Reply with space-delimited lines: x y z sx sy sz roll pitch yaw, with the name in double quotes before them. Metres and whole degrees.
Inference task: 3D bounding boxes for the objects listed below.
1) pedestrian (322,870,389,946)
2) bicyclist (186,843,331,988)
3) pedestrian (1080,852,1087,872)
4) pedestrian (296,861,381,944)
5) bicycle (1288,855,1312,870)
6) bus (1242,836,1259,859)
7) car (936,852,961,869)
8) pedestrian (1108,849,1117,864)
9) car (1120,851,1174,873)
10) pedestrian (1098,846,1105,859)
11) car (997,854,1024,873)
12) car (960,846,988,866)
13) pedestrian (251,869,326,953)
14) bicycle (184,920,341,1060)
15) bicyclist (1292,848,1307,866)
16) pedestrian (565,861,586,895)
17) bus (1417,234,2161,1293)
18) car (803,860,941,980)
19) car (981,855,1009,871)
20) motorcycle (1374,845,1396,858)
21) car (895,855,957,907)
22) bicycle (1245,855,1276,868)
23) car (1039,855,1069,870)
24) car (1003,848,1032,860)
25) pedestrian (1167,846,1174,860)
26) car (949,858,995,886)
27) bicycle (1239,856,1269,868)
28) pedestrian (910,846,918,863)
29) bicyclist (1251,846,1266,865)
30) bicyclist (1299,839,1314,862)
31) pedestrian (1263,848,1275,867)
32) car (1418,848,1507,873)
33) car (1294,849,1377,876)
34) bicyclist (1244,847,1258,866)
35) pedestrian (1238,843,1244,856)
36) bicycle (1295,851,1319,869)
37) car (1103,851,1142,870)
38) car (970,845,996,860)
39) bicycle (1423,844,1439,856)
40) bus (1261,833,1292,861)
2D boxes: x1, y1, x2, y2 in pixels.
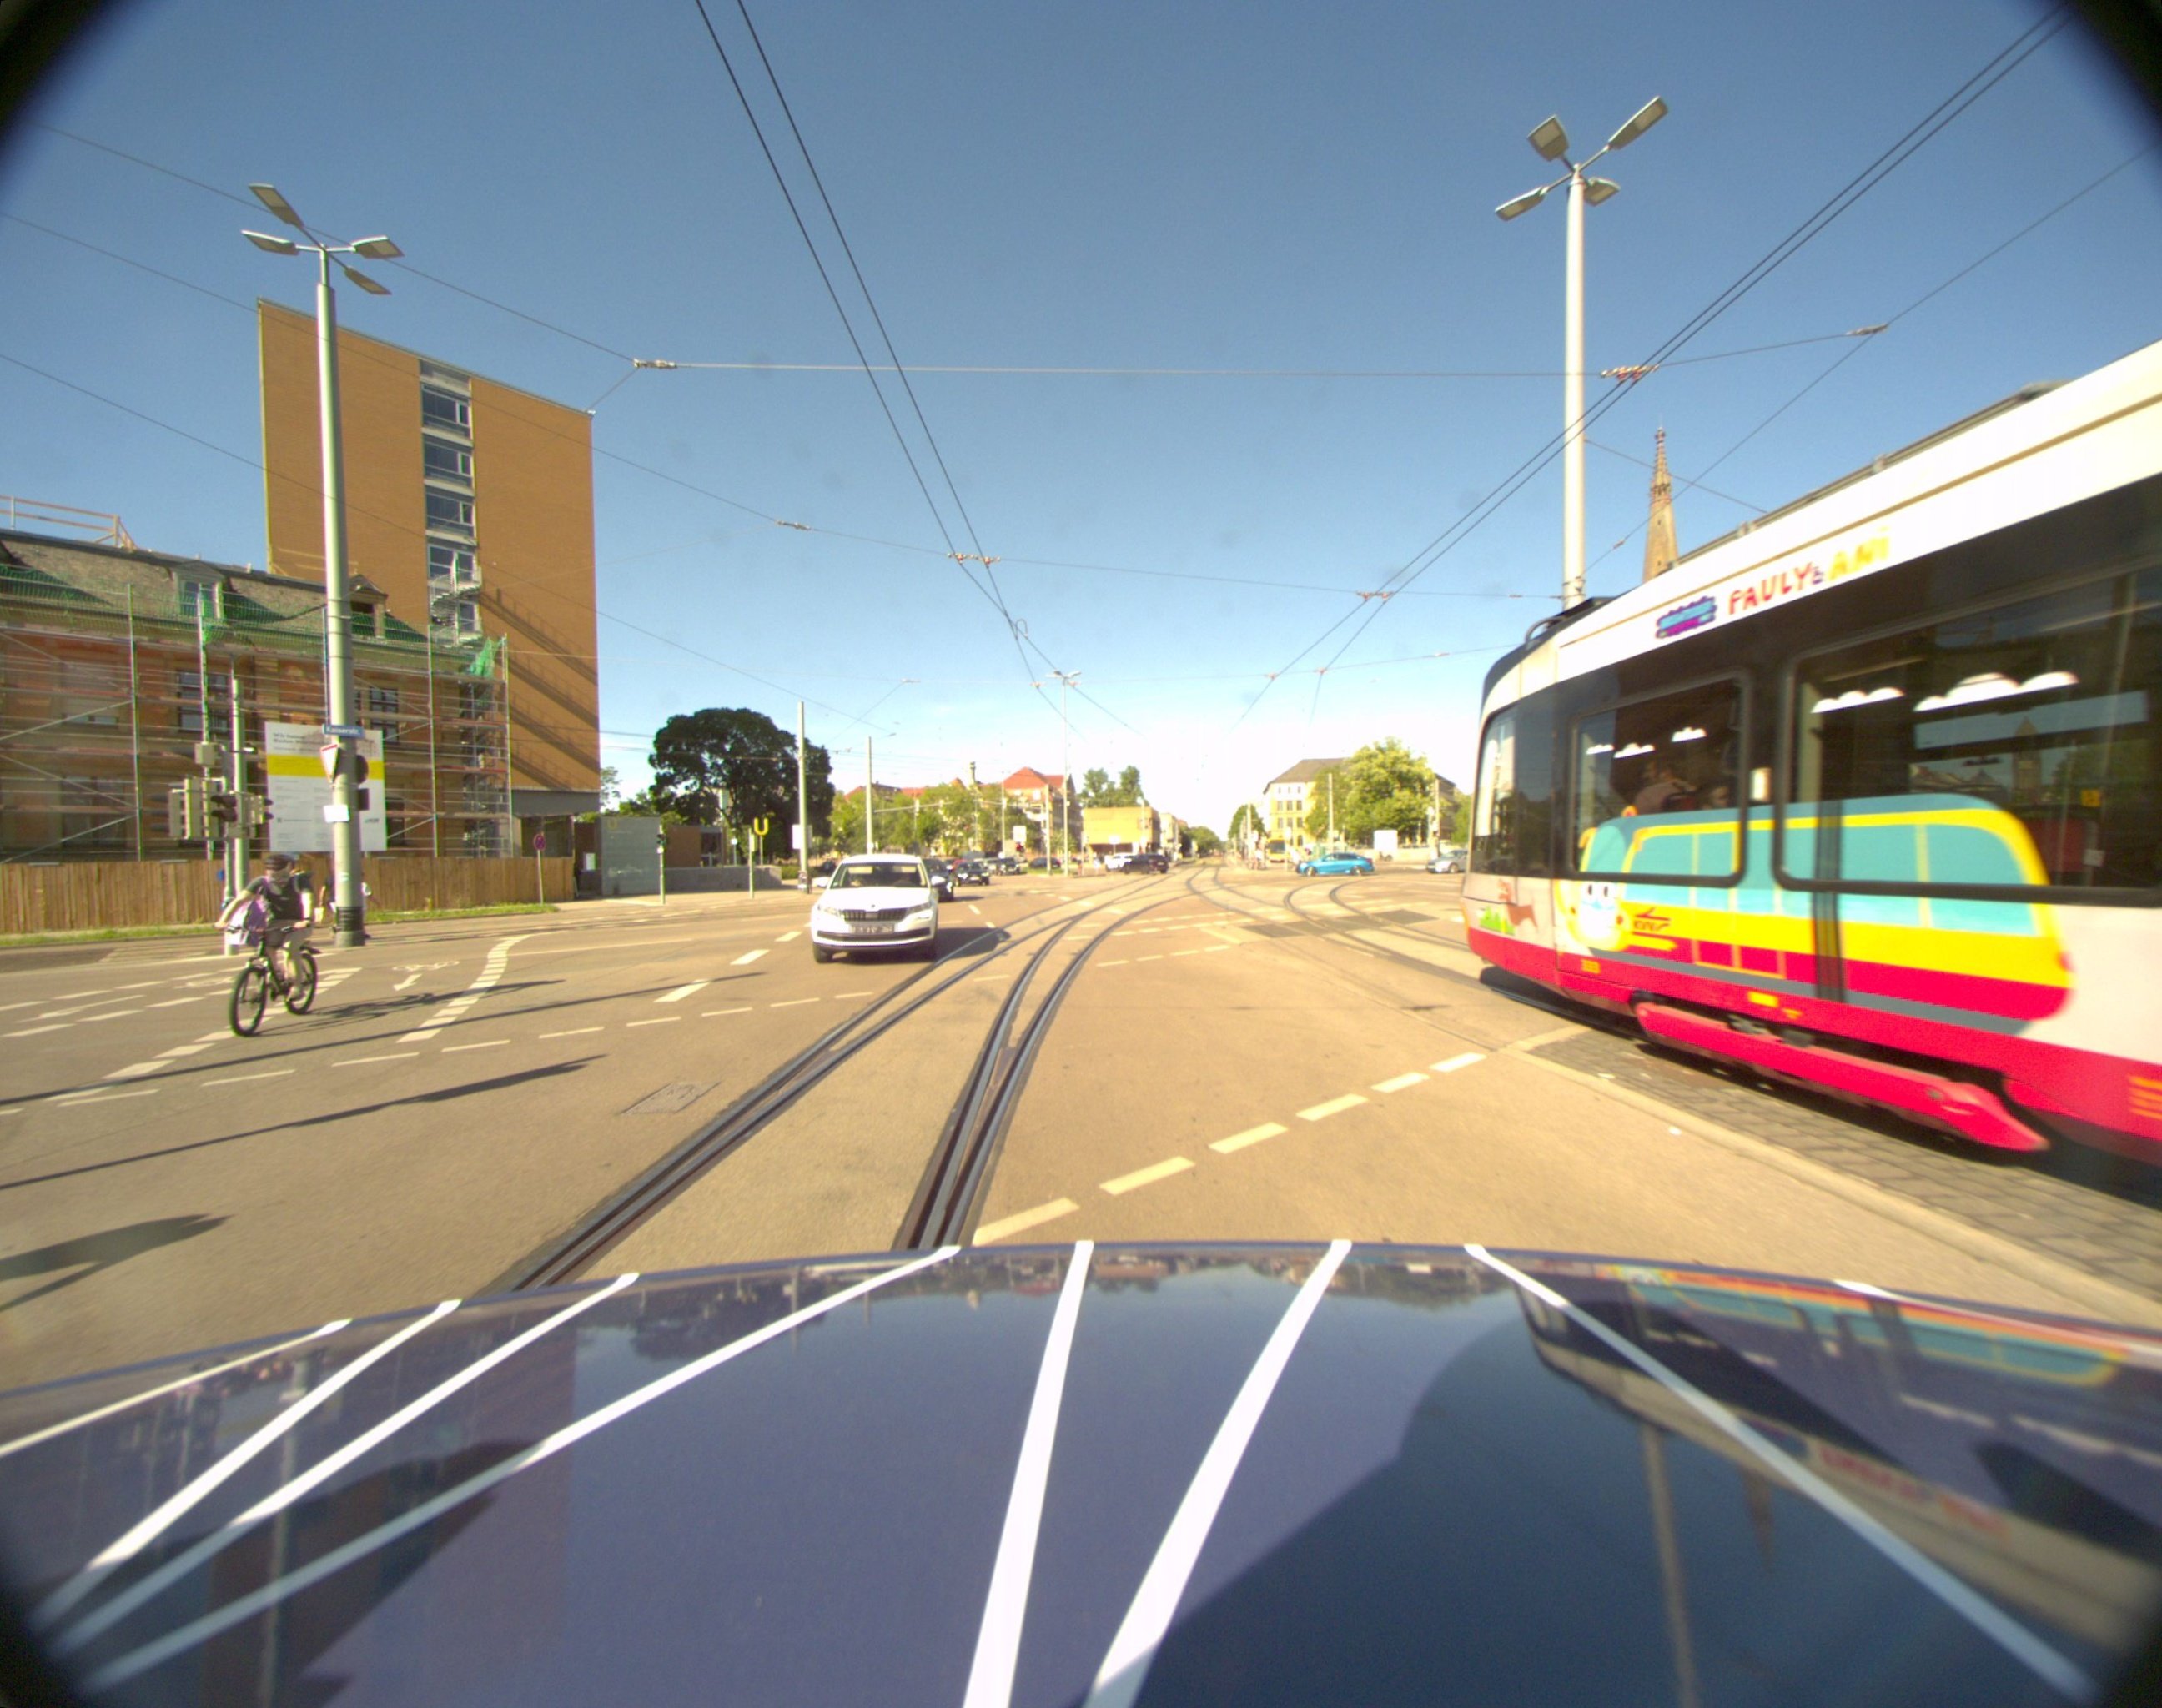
"pedestrian" -16.863 1.245 17.676 0.661 1.667 0.823 -3 1 -5
"bicyclist" -8.779 0.619 8.165 0.677 1.413 1.034 -4 2 -28
"pedestrian" 0.223 0.652 61.755 0.372 1.547 0.644 -3 2 -7
"pedestrian" -18.171 1.157 18.628 0.933 1.919 1.048 -3 1 -5
"bicycle" 16.485 0.631 57.170 1.727 1.099 0.615 -2 1 -27
"bus" 24.456 -0.897 109.603 2.137 3.028 8.566 -3 0 14
"car" -13.600 0.660 77.602 1.762 1.526 4.114 -3 1 -20
"pedestrian" 3.826 0.268 93.193 0.857 1.819 0.703 -2 2 20
"car" 5.091 0.604 59.321 2.047 1.568 4.620 -2 1 -26
"pedestrian" 2.792 -0.156 101.820 0.643 1.702 0.703 -2 2 25
"car" -6.281 0.839 67.220 1.688 1.523 3.910 -3 1 -14
"car" -14.767 0.300 104.895 2.246 2.665 5.295 -4 1 -25
"pedestrian" -17.505 1.237 16.802 0.661 1.747 0.823 -3 1 -5
"bicycle" -8.694 1.375 8.163 0.534 1.152 1.861 -3 2 -29
"bicyclist" 16.409 0.224 57.122 0.796 1.315 0.758 -2 1 -27
"pedestrian" -27.293 1.275 41.010 0.778 1.777 0.829 -4 2 -39
"bus" 5.097 -0.315 1.230 2.848 3.569 13.493 -2 0 -1
"car" -3.428 0.941 13.020 1.870 1.635 4.392 -1 0 -12
"car" -8.340 0.856 73.348 1.827 1.450 4.653 -3 1 -18
"motorcycle" 33.459 -0.269 83.714 2.103 1.247 0.535 -3 2 11
"car" -5.732 0.919 27.845 1.888 1.621 4.007 -3 1 -15
"bicycle" 14.862 0.621 62.865 2.478 0.984 0.615 -1 1 -17
"car" -2.906 0.868 79.967 1.853 1.408 4.473 -2 0 -20
"car" -11.199 -0.083 134.714 2.404 1.793 5.246 -2 1 33
"pedestrian" 12.434 -0.117 105.547 0.857 1.870 0.693 -2 2 20
"car" -6.499 1.035 44.921 1.923 1.450 3.859 -3 1 -19
"bicycle" 14.569 0.666 63.872 2.478 0.984 0.615 -1 1 -17
"pedestrian" -24.247 0.100 110.073 0.876 2.421 0.888 -4 2 -21
"bicyclist" 14.659 0.155 62.799 0.997 1.540 0.595 -2 1 -17
"bicyclist" 16.549 -0.235 55.767 0.796 1.665 0.758 -2 1 -36
"pedestrian" 16.217 0.267 65.672 0.715 1.598 0.607 -3 2 -15
"car" 22.793 0.344 45.465 4.600 1.321 1.795 -2 1 -9
"car" 15.301 0.503 45.960 4.591 1.450 1.915 -1 1 14
"bicyclist" 14.282 0.233 63.792 0.957 1.520 0.576 -3 2 -17
"pedestrian" 23.374 -0.691 110.812 0.690 1.851 0.730 -3 2 15
"bicycle" 16.604 0.457 55.806 1.968 1.249 0.614 -2 1 -36
"car" 3.779 0.589 69.714 2.005 1.631 4.558 -2 0 -19
"car" -10.279 -0.190 79.622 1.827 1.450 4.653 -3 1 -18
"bicycle" 38.146 -0.436 82.836 1.499 1.263 0.366 -3 2 16
"bus" 25.358 -1.016 98.962 2.846 3.104 11.824 -3 2 10
